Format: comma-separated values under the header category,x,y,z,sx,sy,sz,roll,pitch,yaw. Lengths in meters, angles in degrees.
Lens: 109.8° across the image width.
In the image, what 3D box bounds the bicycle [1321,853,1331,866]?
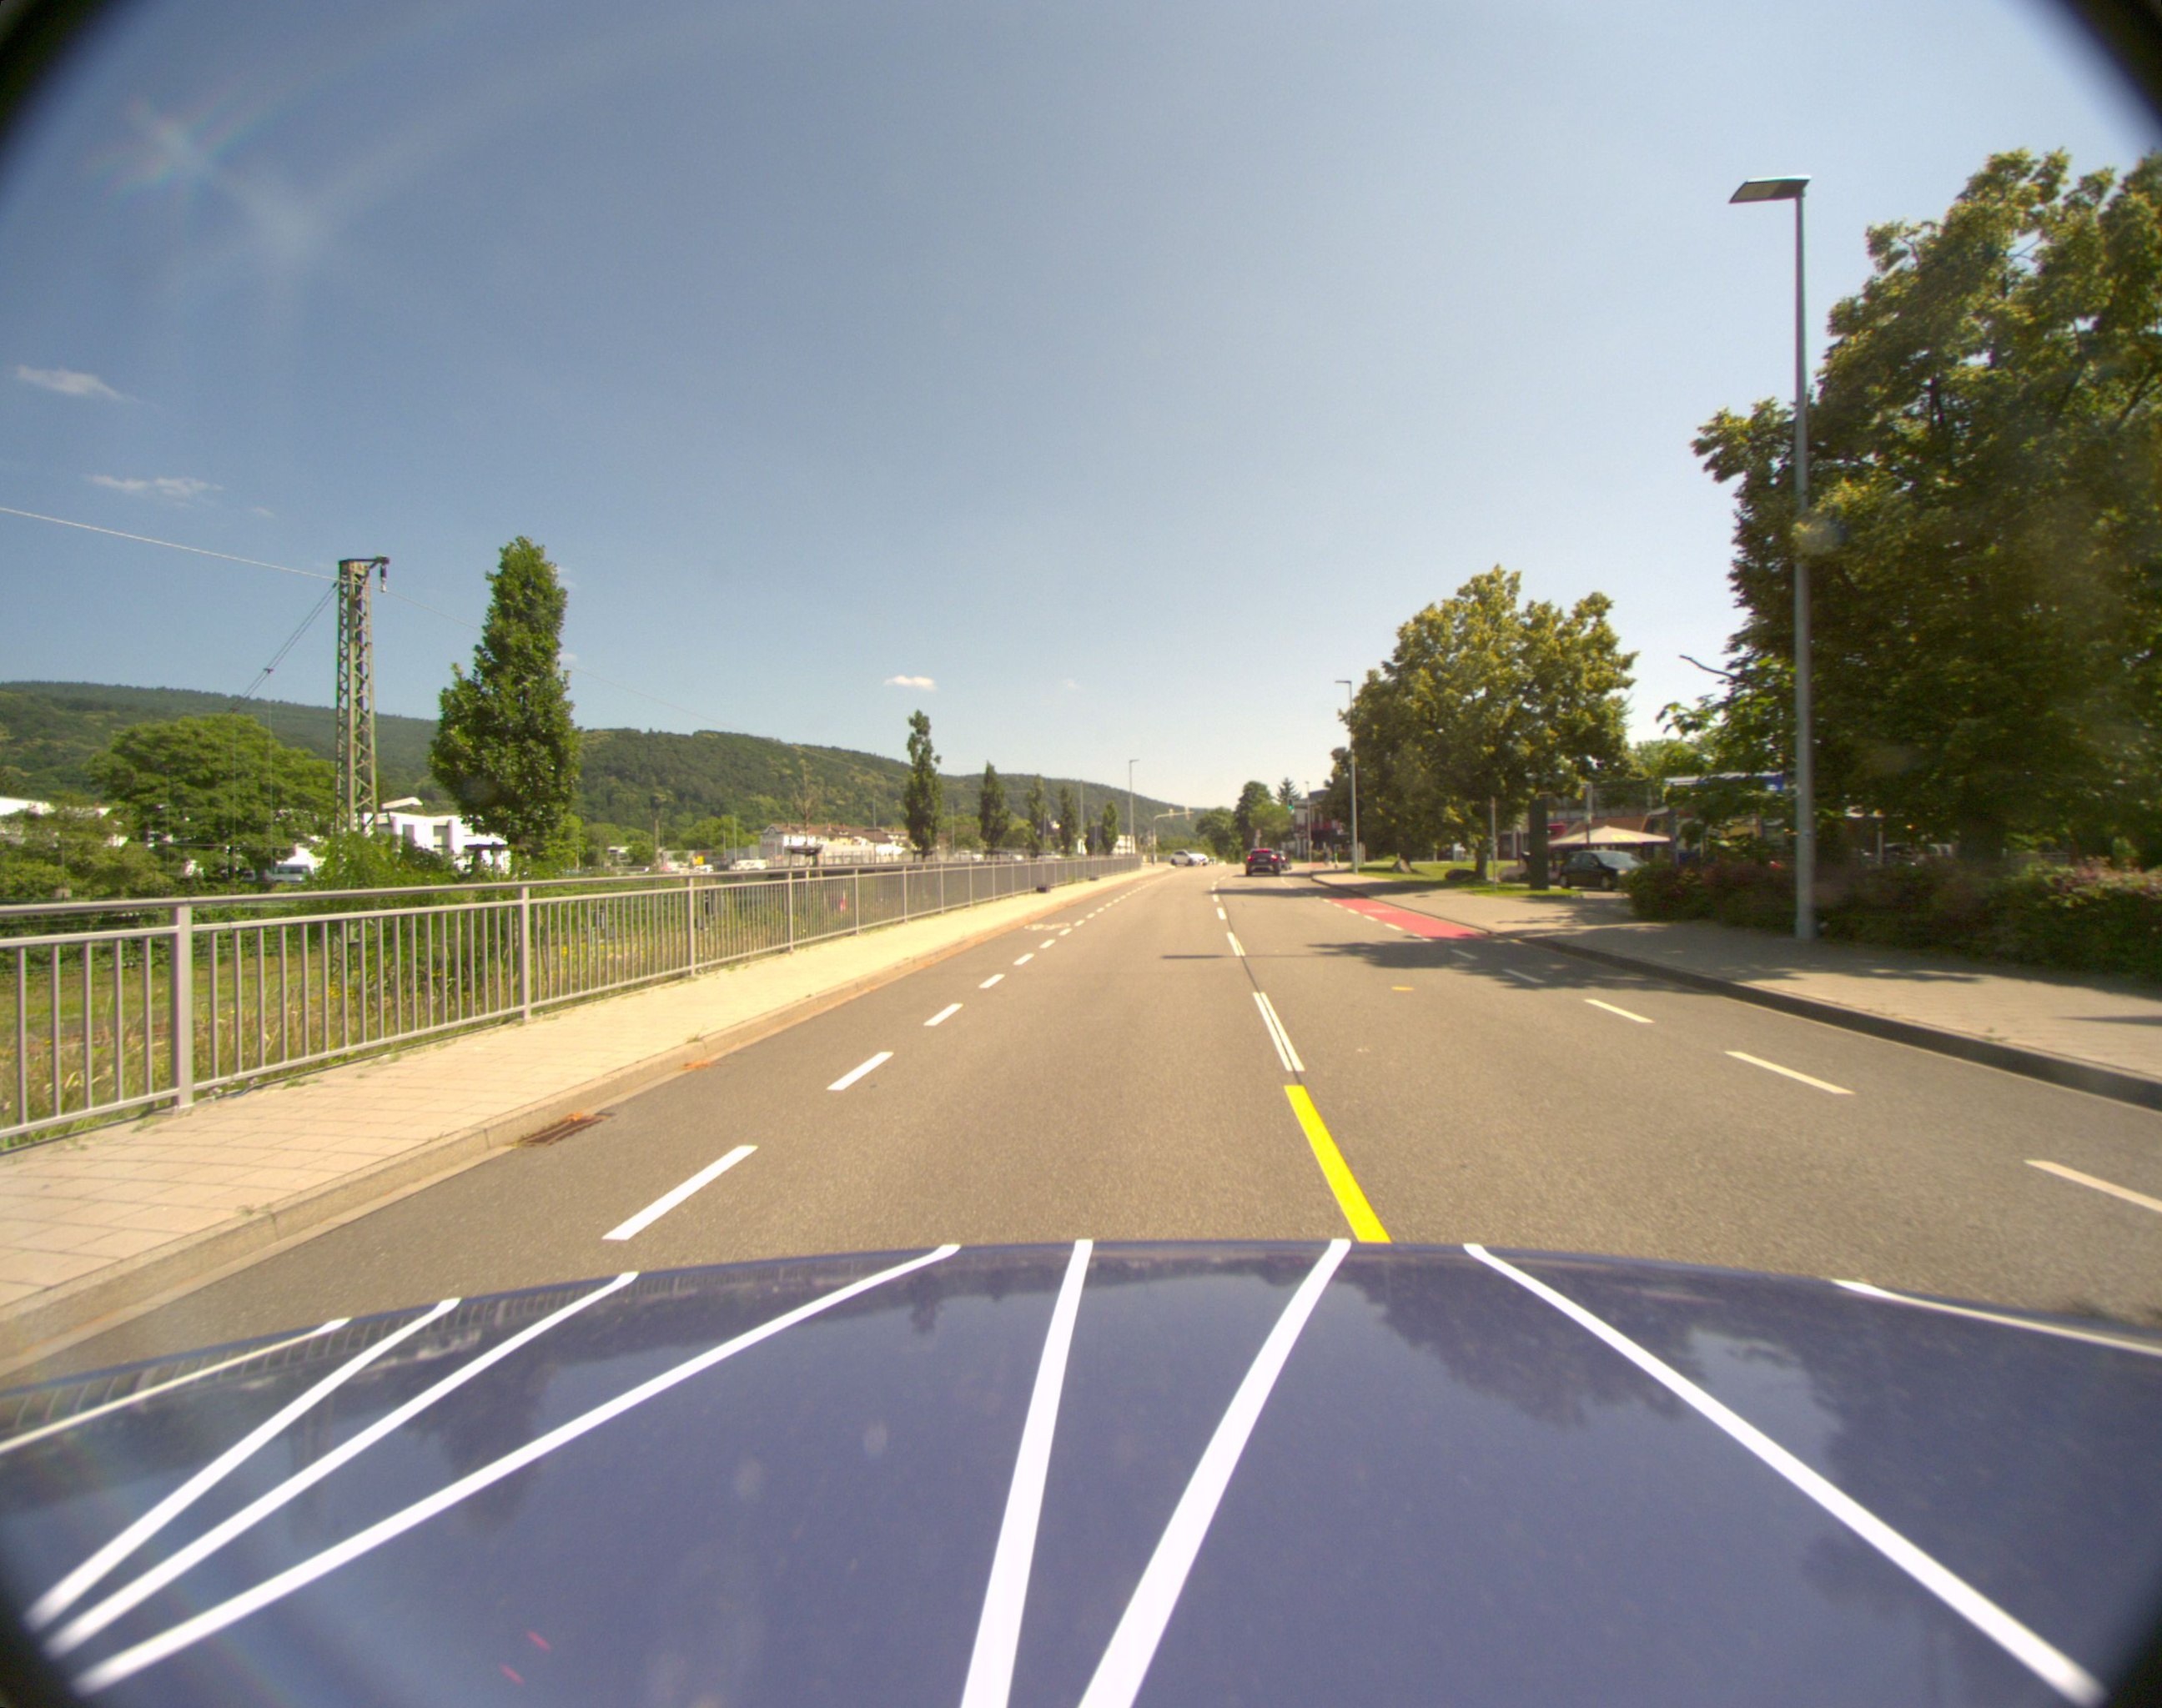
category,x,y,z,sx,sy,sz,roll,pitch,yaw
bicycle,21.105,0.451,65.441,0.697,1.098,1.758,1,1,24

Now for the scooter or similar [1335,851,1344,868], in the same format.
category,x,y,z,sx,sy,sz,roll,pitch,yaw
scooter or similar,17.934,0.391,52.705,0.472,1.177,1.368,-1,0,25

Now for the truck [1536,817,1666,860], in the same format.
category,x,y,z,sx,sy,sz,roll,pitch,yaw
truck,45.255,-1.251,66.487,9.143,3.366,3.321,-1,0,34

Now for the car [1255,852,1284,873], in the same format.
category,x,y,z,sx,sy,sz,roll,pitch,yaw
car,12.793,0.563,51.553,1.658,1.373,4.005,-1,0,17

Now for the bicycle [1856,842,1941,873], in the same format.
category,x,y,z,sx,sy,sz,roll,pitch,yaw
bicycle,26.520,0.126,24.695,1.853,0.986,0.309,-1,0,37

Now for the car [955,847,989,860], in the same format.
category,x,y,z,sx,sy,sz,roll,pitch,yaw
car,-14.887,-0.028,103.746,4.430,1.616,1.741,-1,-3,32

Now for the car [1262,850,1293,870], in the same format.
category,x,y,z,sx,sy,sz,roll,pitch,yaw
car,14.928,0.435,57.430,1.781,1.488,4.729,-1,0,20

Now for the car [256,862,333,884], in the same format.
category,x,y,z,sx,sy,sz,roll,pitch,yaw
car,-78.499,1.870,75.933,1.996,2.100,4.997,-1,0,16

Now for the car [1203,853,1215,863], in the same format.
category,x,y,z,sx,sy,sz,roll,pitch,yaw
car,20.637,0.652,122.393,1.670,1.524,4.004,-1,0,14

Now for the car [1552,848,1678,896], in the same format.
category,x,y,z,sx,sy,sz,roll,pitch,yaw
car,18.768,0.591,26.958,1.863,1.543,4.190,-1,0,7

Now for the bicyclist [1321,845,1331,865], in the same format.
category,x,y,z,sx,sy,sz,roll,pitch,yaw
bicyclist,21.055,0.087,65.380,0.711,1.778,0.810,-1,0,24

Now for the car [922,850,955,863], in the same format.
category,x,y,z,sx,sy,sz,roll,pitch,yaw
car,-19.934,0.350,106.519,4.431,1.617,1.740,-1,0,29

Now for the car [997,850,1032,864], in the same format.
category,x,y,z,sx,sy,sz,roll,pitch,yaw
car,-8.726,0.417,99.881,4.430,1.616,1.741,-1,-3,34

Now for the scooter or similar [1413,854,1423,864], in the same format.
category,x,y,z,sx,sy,sz,roll,pitch,yaw
scooter or similar,36.104,0.539,81.353,0.499,1.117,1.507,0,0,44

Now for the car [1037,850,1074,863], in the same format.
category,x,y,z,sx,sy,sz,roll,pitch,yaw
car,-3.219,0.327,95.762,4.398,1.460,1.741,-1,-3,34

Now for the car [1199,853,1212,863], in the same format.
category,x,y,z,sx,sy,sz,roll,pitch,yaw
car,19.271,0.663,117.498,1.670,1.524,4.004,-1,0,14

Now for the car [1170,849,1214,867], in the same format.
category,x,y,z,sx,sy,sz,roll,pitch,yaw
car,11.415,0.412,78.581,2.003,1.709,4.622,-1,0,-32

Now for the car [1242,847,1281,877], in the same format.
category,x,y,z,sx,sy,sz,roll,pitch,yaw
car,10.813,0.462,45.348,1.952,1.685,4.619,-1,0,17
